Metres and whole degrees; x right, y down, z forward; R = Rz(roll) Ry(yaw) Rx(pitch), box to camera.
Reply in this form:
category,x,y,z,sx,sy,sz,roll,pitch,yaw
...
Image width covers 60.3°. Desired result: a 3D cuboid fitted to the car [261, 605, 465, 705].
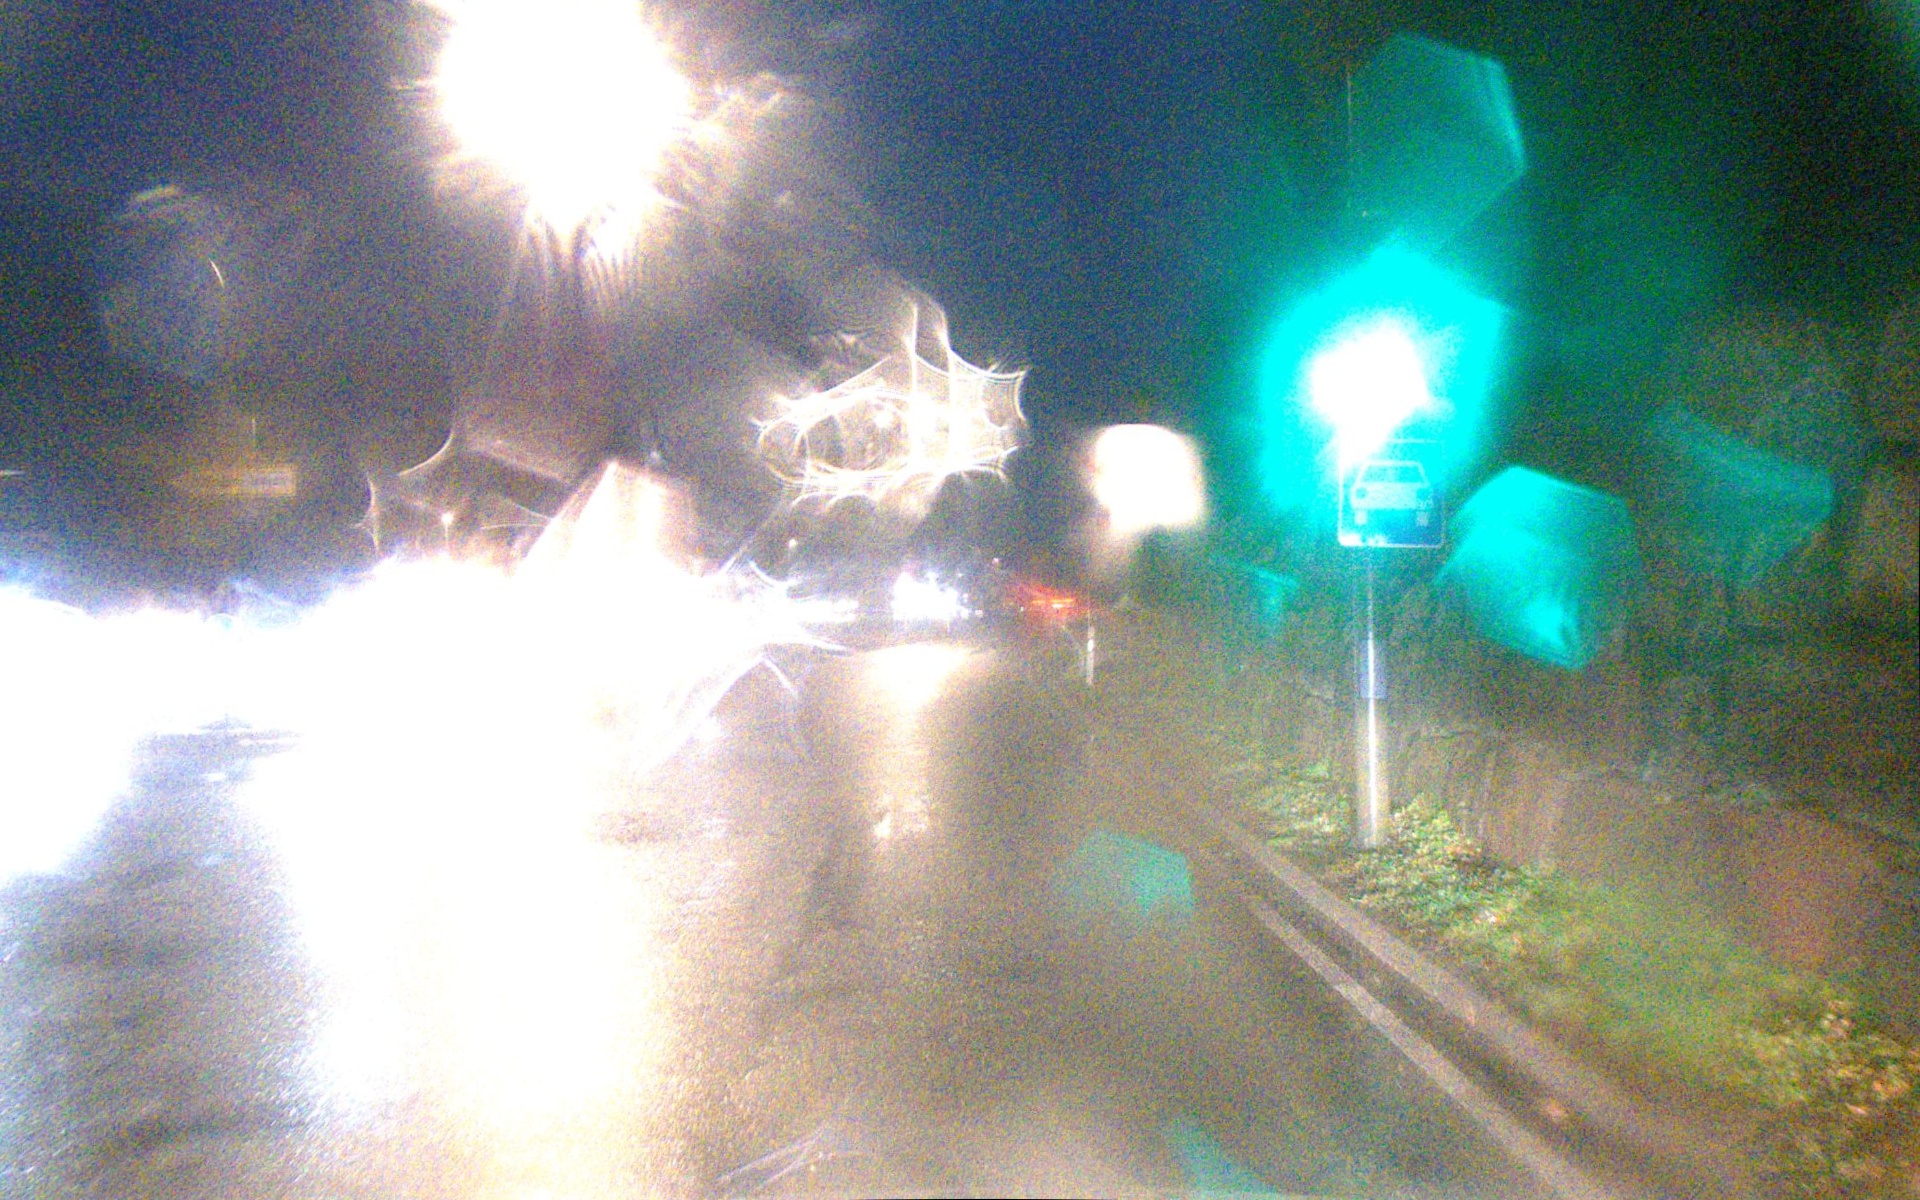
category,x,y,z,sx,sy,sz,roll,pitch,yaw
car,-10.287,0.905,28.896,1.663,1.599,4.713,0,-1,3

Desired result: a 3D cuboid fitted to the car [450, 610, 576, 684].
category,x,y,z,sx,sy,sz,roll,pitch,yaw
car,-9.845,1.043,36.687,1.552,1.552,3.653,0,-2,4

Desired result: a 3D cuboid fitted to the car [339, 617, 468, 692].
category,x,y,z,sx,sy,sz,roll,pitch,yaw
car,-13.469,1.314,40.255,1.954,1.750,3.997,0,-2,-3

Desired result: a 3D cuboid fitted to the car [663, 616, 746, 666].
category,x,y,z,sx,sy,sz,roll,pitch,yaw
car,-8.353,1.349,54.417,1.672,1.561,4.602,0,-2,4

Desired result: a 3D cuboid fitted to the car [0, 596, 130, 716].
category,x,y,z,sx,sy,sz,roll,pitch,yaw
car,-13.695,0.756,23.107,1.755,1.599,4.913,0,-1,0

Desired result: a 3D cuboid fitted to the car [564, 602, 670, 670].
category,x,y,z,sx,sy,sz,roll,pitch,yaw
car,-9.195,0.975,44.638,1.681,1.733,4.145,0,-1,5

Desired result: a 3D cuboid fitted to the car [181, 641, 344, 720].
category,x,y,z,sx,sy,sz,roll,pitch,yaw
car,-13.772,1.556,32.875,1.634,1.479,3.727,0,-2,0
